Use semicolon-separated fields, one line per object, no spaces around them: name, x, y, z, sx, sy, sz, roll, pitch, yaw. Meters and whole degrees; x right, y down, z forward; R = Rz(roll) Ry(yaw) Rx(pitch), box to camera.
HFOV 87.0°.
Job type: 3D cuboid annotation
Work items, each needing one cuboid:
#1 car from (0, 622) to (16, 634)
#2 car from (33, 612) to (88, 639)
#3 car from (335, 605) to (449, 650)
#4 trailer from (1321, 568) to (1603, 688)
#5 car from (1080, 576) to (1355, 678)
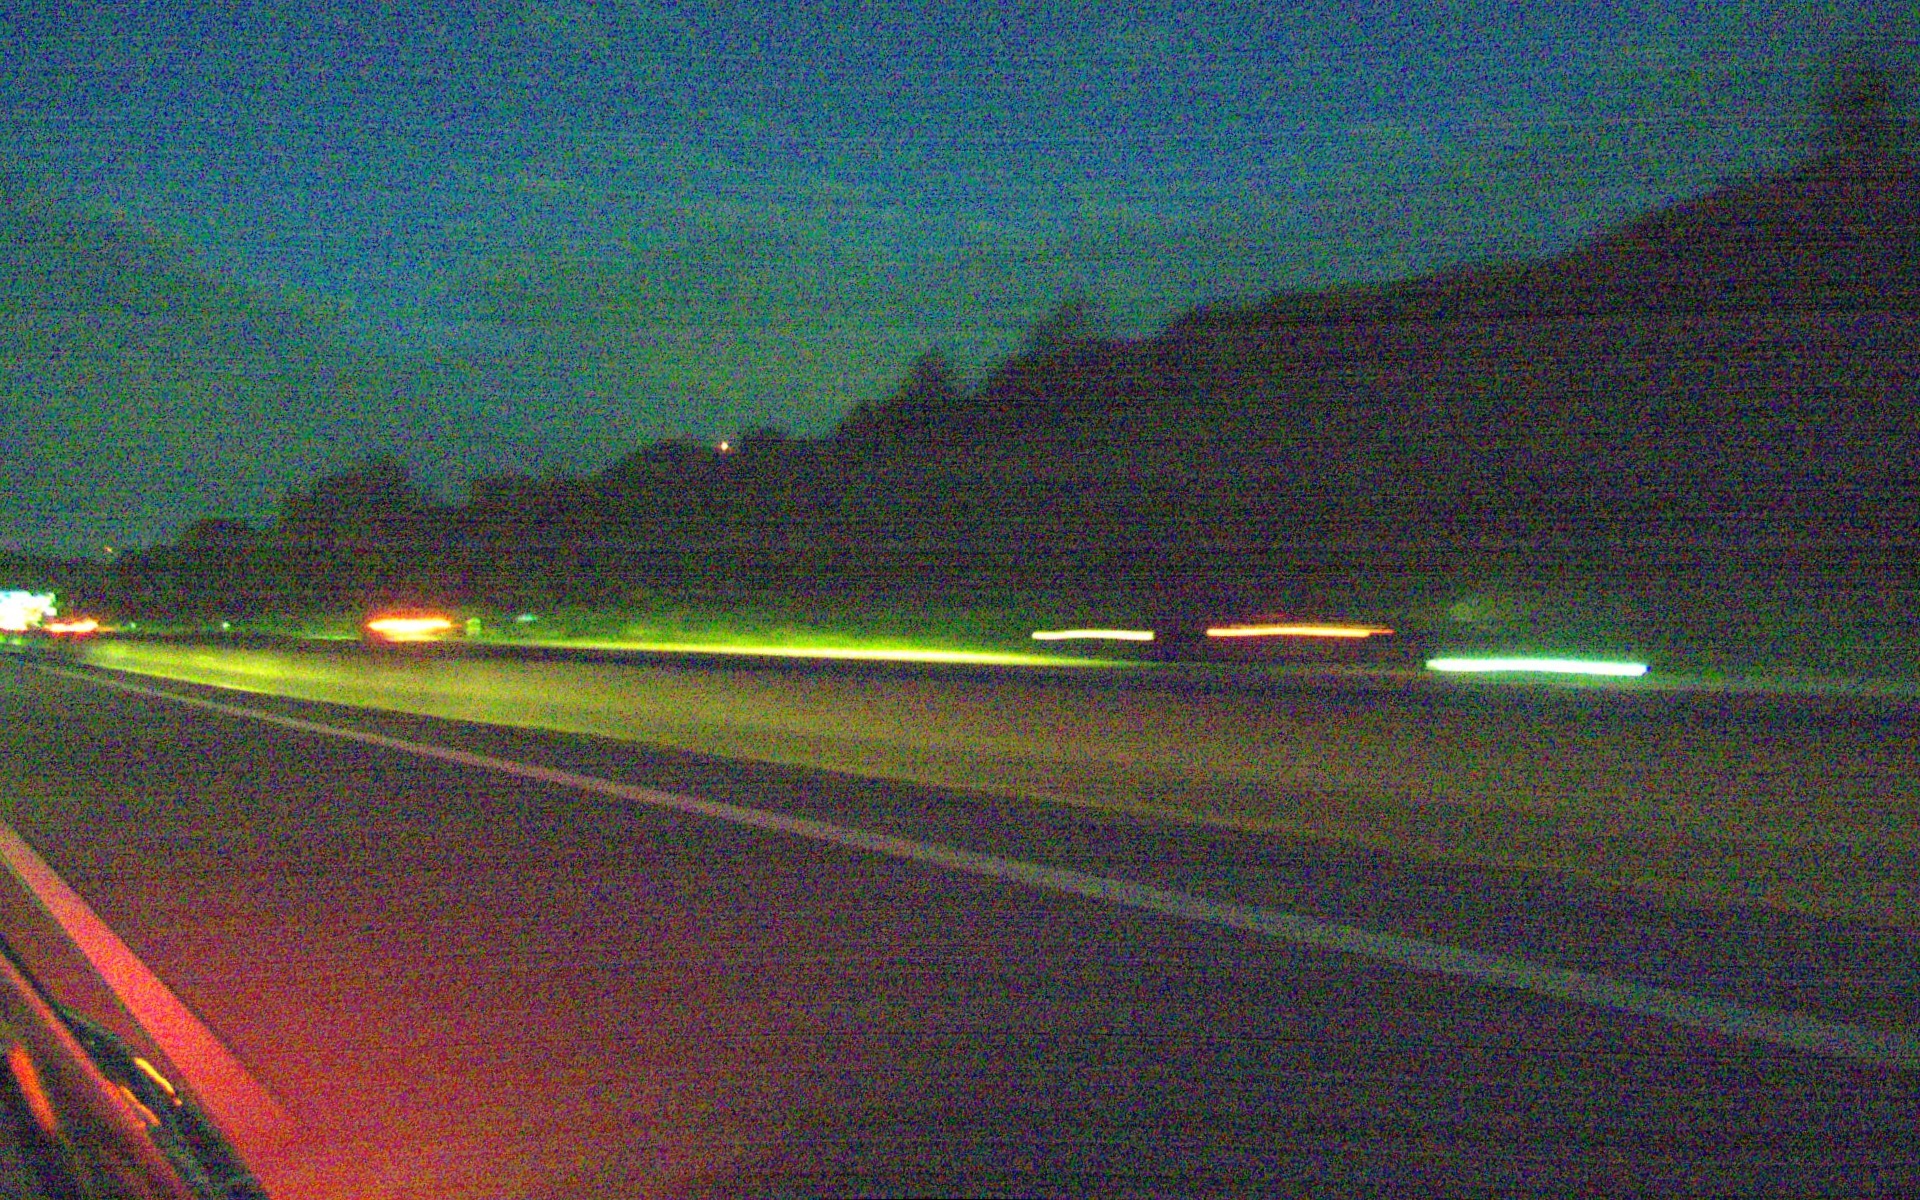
car;-144.104;4.245;152.487;4.888;1.681;2.221;-1;-1;41
car;-61.098;1.718;68.750;4.885;1.732;2.221;-1;0;41
car;-21.667;1.026;38.533;4.884;1.610;2.221;-1;0;40
trailer;8.267;0.427;16.826;3.843;1.760;1.877;-1;0;41
car;4.910;0.494;19.778;4.879;1.760;1.894;-1;0;41
